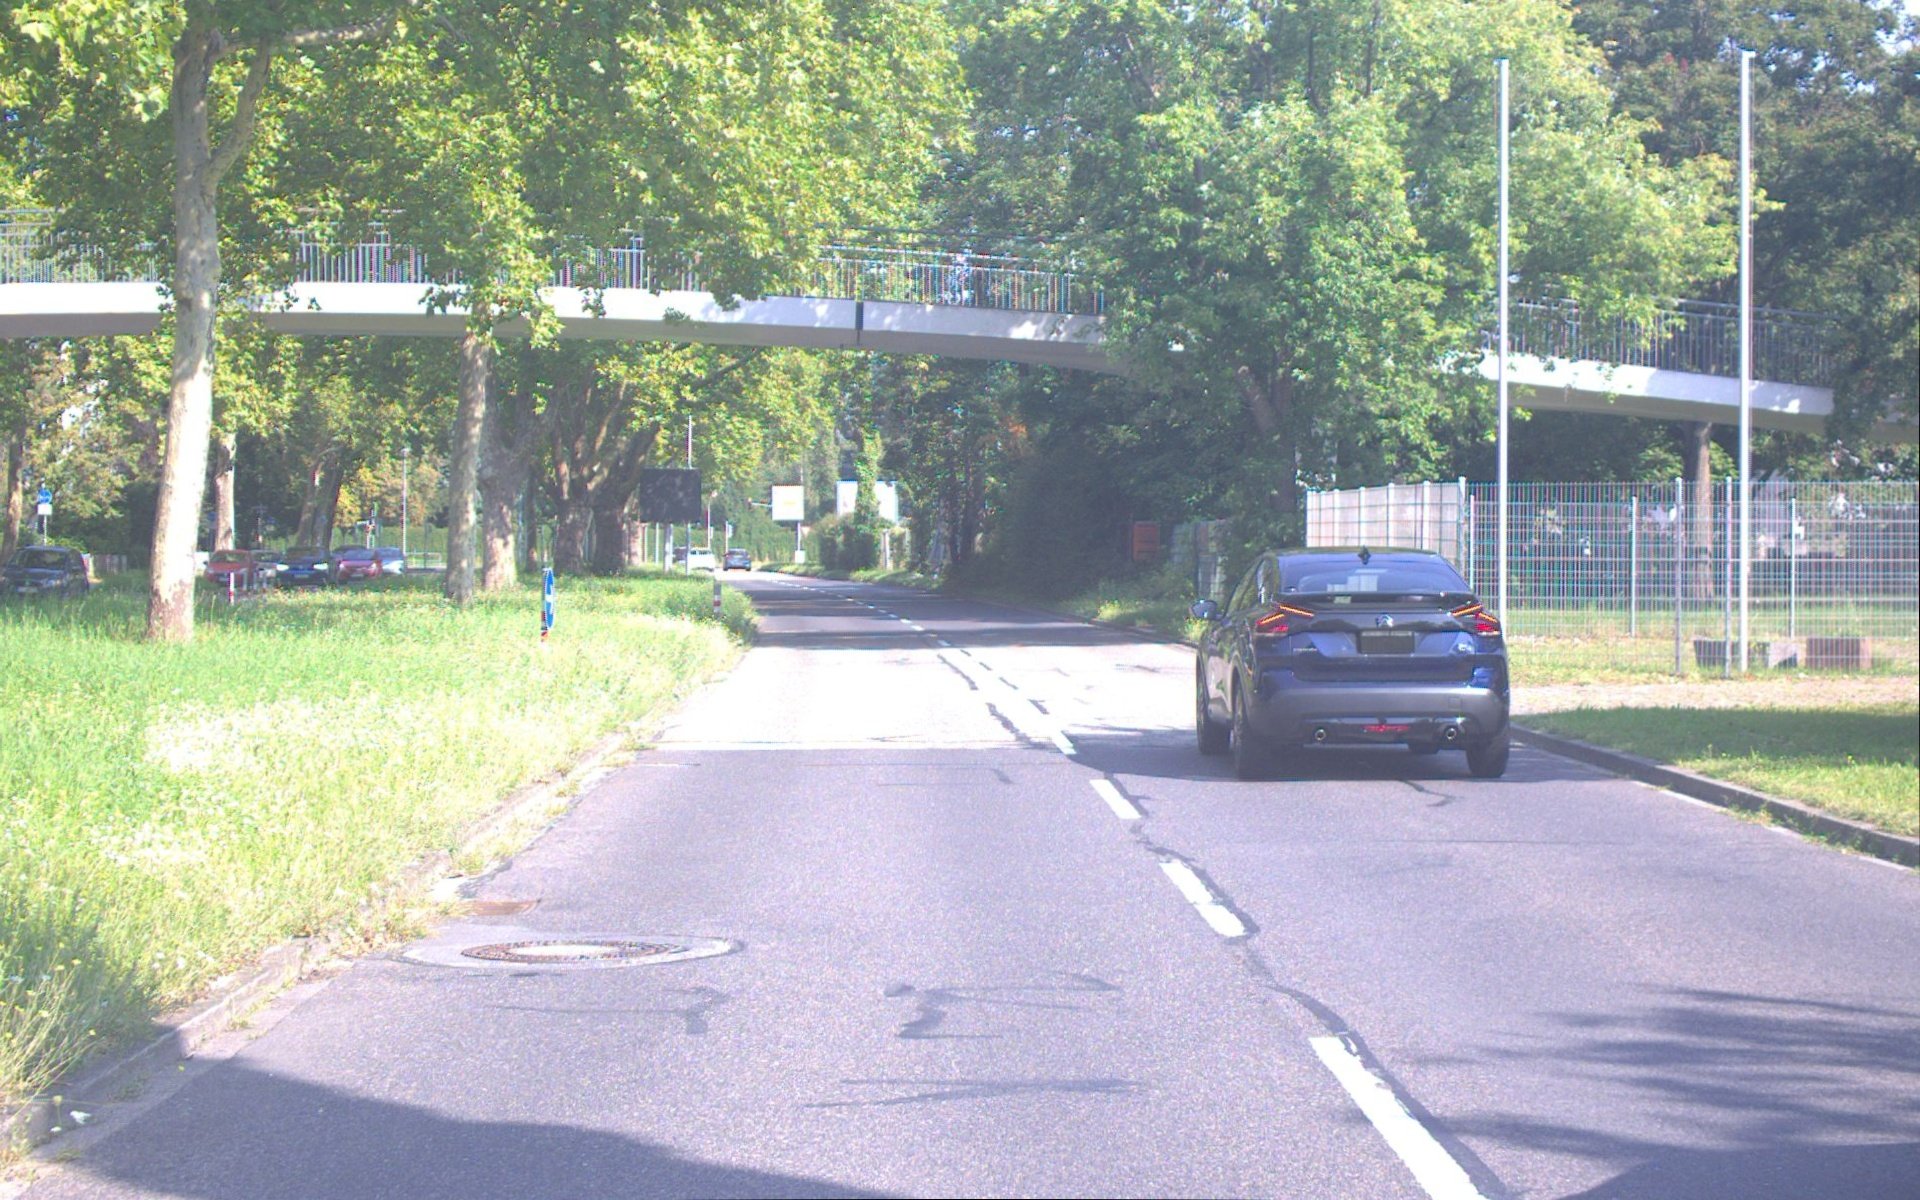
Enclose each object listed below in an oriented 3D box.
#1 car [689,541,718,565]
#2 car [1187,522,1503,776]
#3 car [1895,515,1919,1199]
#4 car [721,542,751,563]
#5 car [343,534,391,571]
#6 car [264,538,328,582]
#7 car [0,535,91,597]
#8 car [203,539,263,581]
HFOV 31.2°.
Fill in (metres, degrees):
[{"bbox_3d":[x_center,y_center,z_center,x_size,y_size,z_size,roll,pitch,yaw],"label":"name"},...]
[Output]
[{"bbox_3d":[-15.933,-2.887,213.532,1.687,1.457,4.001,1,1,-5],"label":"car"},{"bbox_3d":[2.571,0.289,23.826,1.645,1.583,4.255,1,1,-1],"label":"car"},{"bbox_3d":[2.978,0.621,5.713,1.645,1.551,3.899,1,1,-2],"label":"car"},{"bbox_3d":[-14.773,-3.121,226.642,1.797,1.396,4.001,1,1,-7],"label":"car"},{"bbox_3d":[-25.013,-1.998,145.128,1.690,1.527,4.070,0,1,-5],"label":"car"},{"bbox_3d":[-23.577,-1.420,122.116,1.787,1.527,4.456,1,1,-5],"label":"car"},{"bbox_3d":[-23.146,-0.870,86.472,1.522,1.527,3.864,0,1,1],"label":"car"},{"bbox_3d":[-25.905,-1.422,122.572,1.538,1.446,4.065,1,1,-4],"label":"car"}]
